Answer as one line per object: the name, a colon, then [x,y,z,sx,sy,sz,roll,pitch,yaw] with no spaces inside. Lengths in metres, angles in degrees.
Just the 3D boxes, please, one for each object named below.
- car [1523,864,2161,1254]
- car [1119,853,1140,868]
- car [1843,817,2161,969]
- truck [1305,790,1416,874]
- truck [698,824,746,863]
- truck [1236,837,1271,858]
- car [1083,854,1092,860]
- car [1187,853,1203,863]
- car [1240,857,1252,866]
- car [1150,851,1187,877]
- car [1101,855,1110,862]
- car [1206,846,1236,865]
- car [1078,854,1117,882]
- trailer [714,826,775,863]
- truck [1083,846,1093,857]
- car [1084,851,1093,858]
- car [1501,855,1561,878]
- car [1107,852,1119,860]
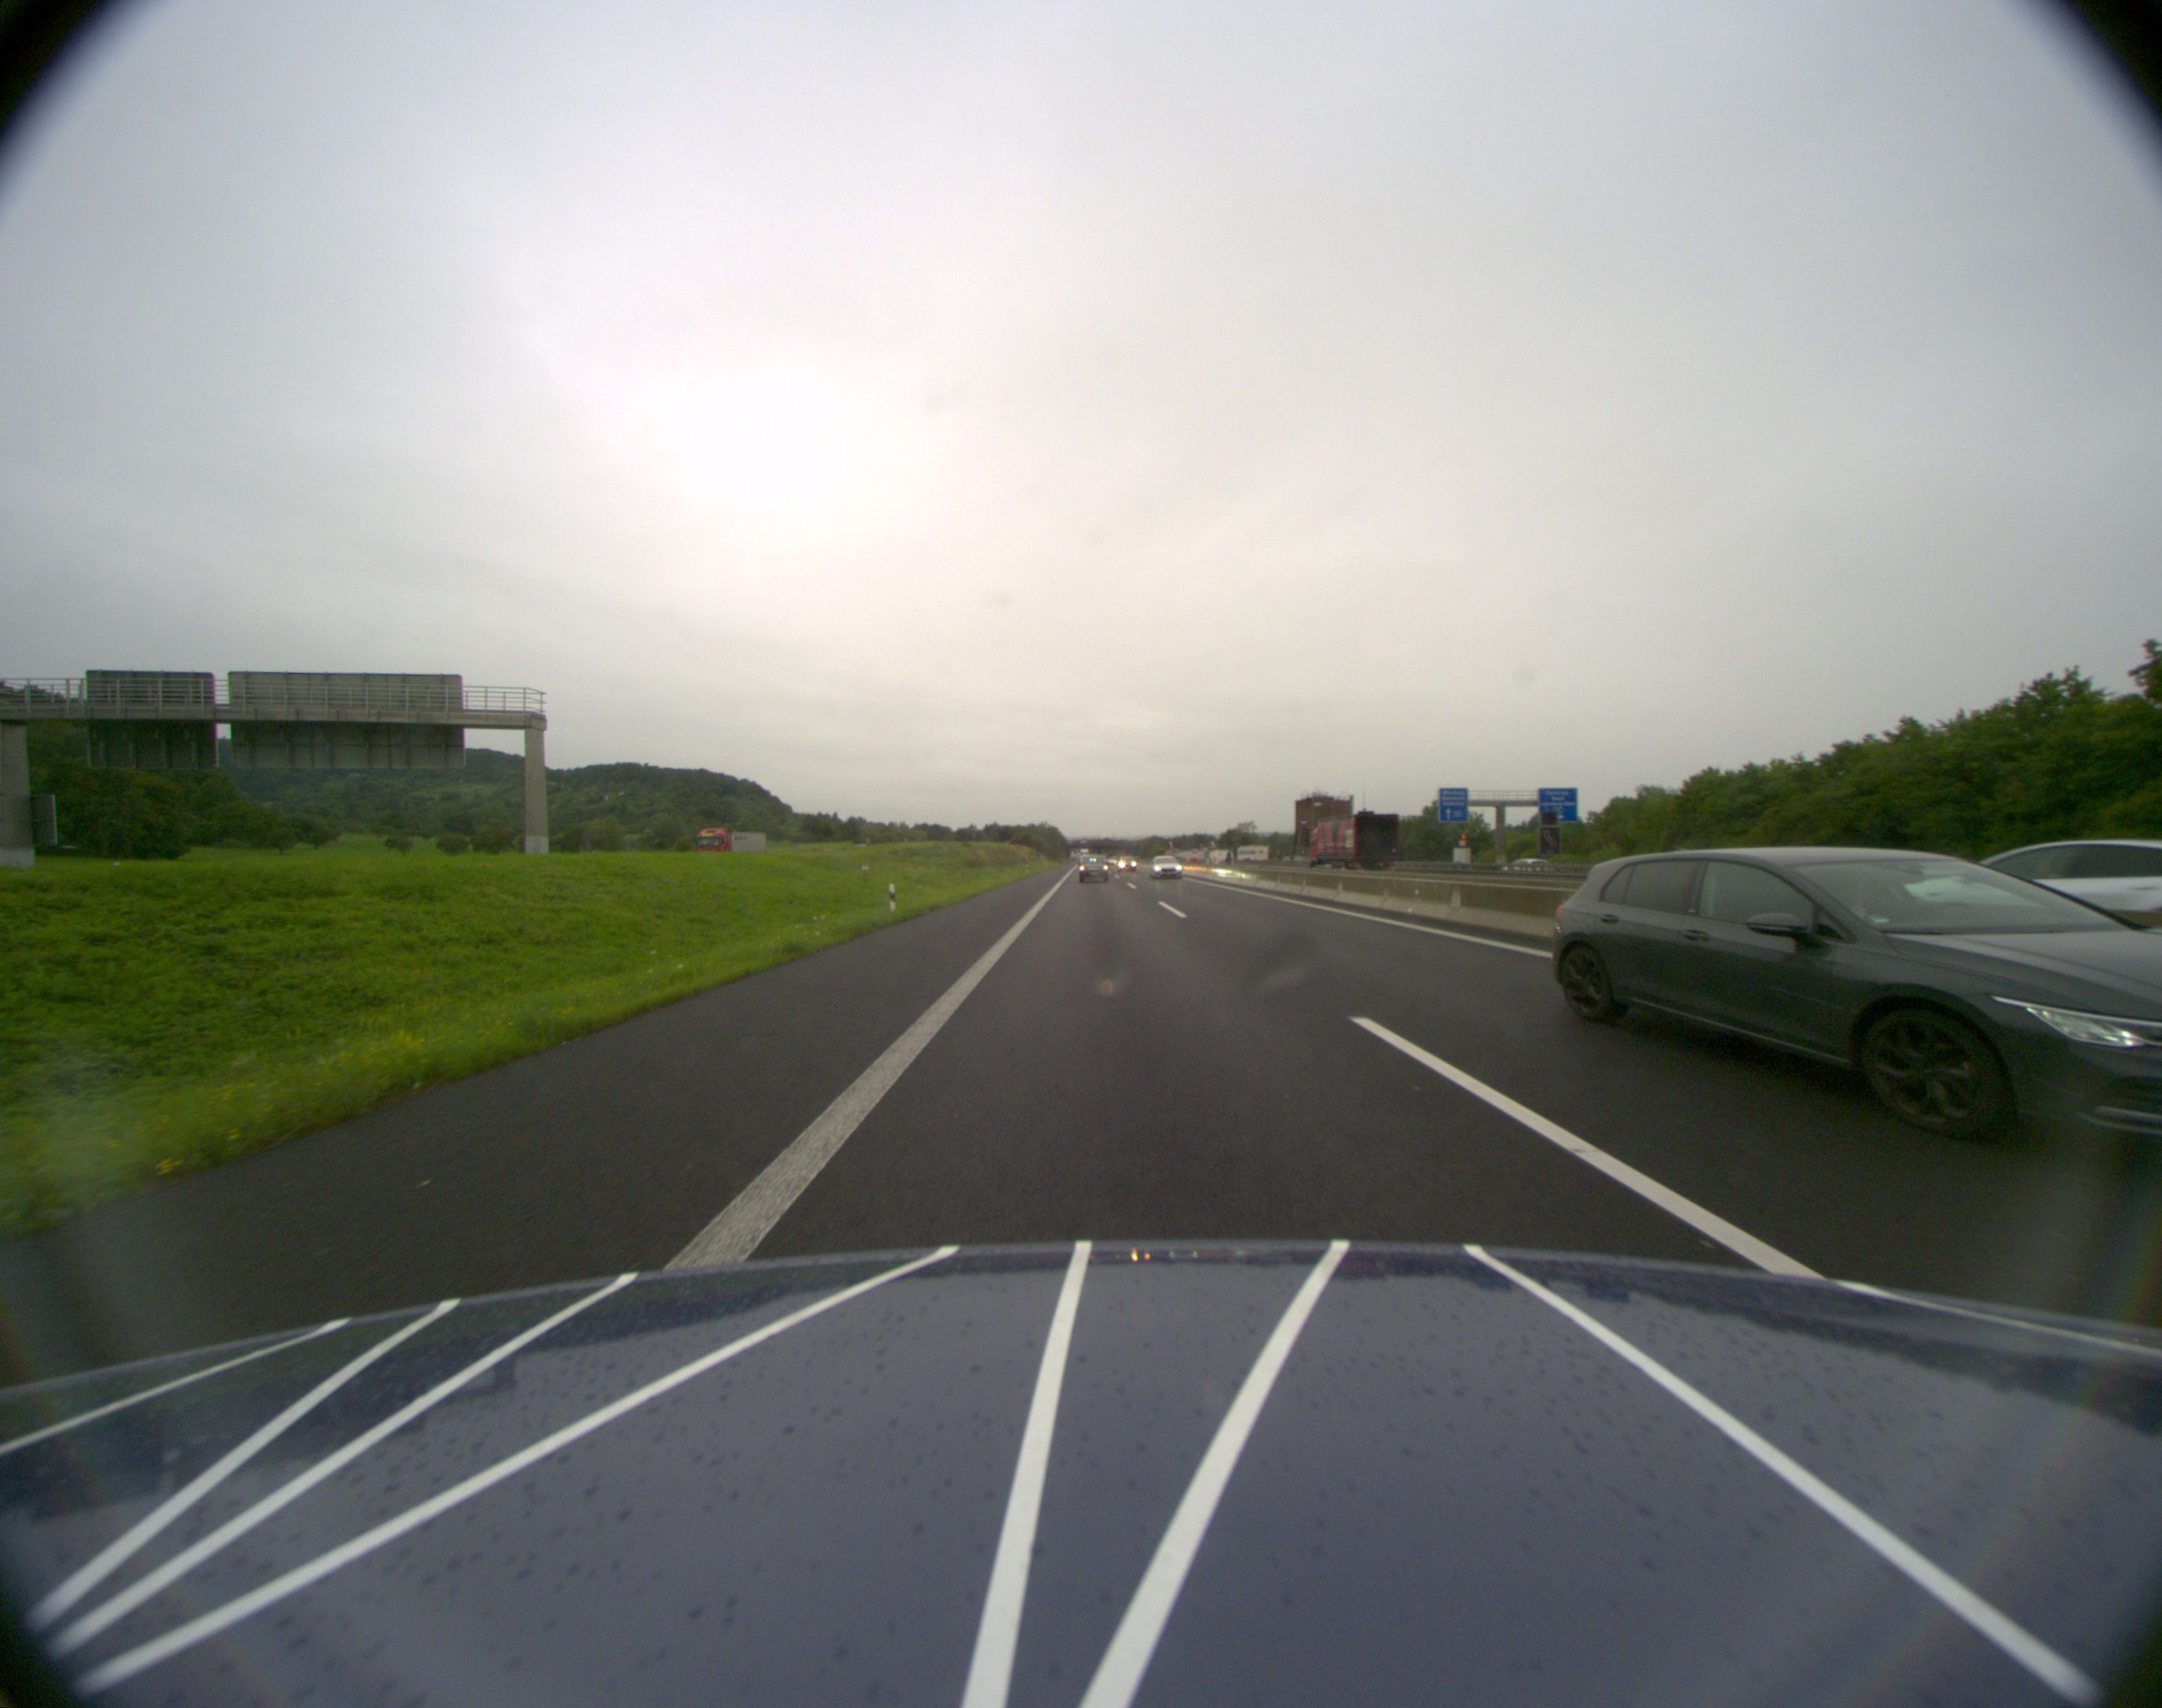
car: [5.059,0.822,4.861,1.835,1.417,4.367,-2,0,-1]
car: [4.769,0.627,74.615,1.835,1.416,4.368,-3,0,2]
car: [13.537,0.418,9.900,2.161,1.755,4.959,-1,0,-1]
truck: [17.614,-1.283,48.901,3.408,4.705,10.486,-2,0,2]
truck: [-38.947,-1.141,82.677,2.515,3.964,5.925,-3,1,-4]
truck: [33.929,-1.177,150.295,3.185,3.786,17.134,-1,0,1]
car: [1.565,0.667,176.256,1.942,1.341,4.000,-3,0,1]
car: [17.936,0.632,119.514,1.728,1.543,4.582,-2,0,0]
car: [30.090,1.361,138.682,1.575,1.475,4.048,-2,0,3]
car: [5.706,0.630,50.214,1.998,1.582,4.817,-2,0,2]
car: [5.915,1.012,180.810,1.998,1.565,4.000,-2,0,1]
car: [13.787,0.110,75.033,1.999,1.852,5.220,0,0,0]
car: [1.026,0.816,46.939,2.242,1.565,4.817,-2,0,2]
trailer: [-39.478,-1.099,89.680,2.498,3.961,12.398,-3,0,-5]
truck: [2.224,-0.693,237.474,2.728,3.098,7.960,-3,0,1]
car: [1.756,0.126,182.723,1.942,1.341,4.000,-3,0,1]
car: [29.277,0.795,49.559,1.526,1.390,4.000,-2,0,1]
car: [5.907,0.414,138.720,1.942,1.341,4.000,-3,0,0]
